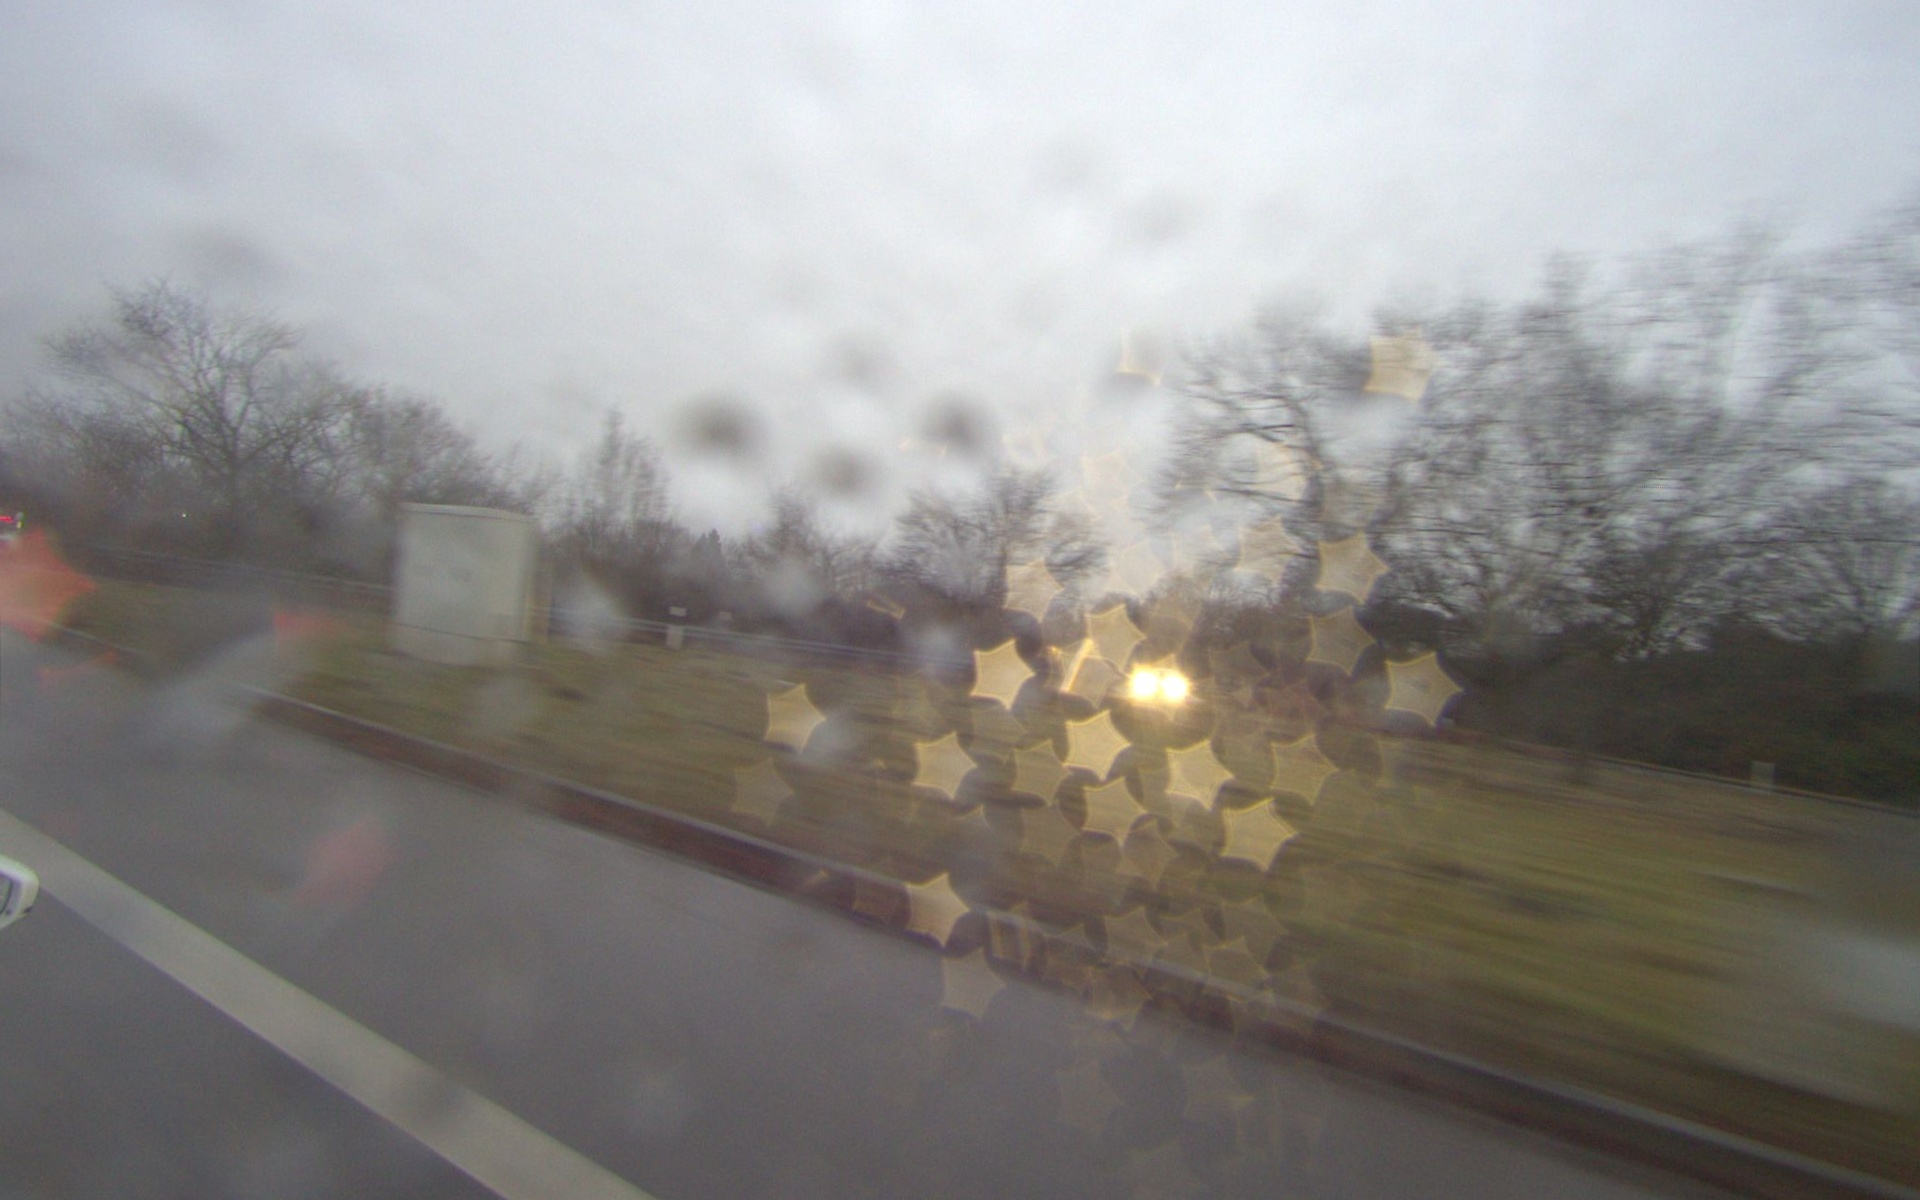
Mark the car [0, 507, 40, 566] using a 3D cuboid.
[{"bbox_3d":[-25.372,-1.820,24.714,3.924,1.362,2.002,7,-1,9],"label":"car"}]

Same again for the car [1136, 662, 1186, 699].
[{"bbox_3d":[9.243,3.647,46.109,1.899,1.374,4.402,7,-2,14],"label":"car"}]
